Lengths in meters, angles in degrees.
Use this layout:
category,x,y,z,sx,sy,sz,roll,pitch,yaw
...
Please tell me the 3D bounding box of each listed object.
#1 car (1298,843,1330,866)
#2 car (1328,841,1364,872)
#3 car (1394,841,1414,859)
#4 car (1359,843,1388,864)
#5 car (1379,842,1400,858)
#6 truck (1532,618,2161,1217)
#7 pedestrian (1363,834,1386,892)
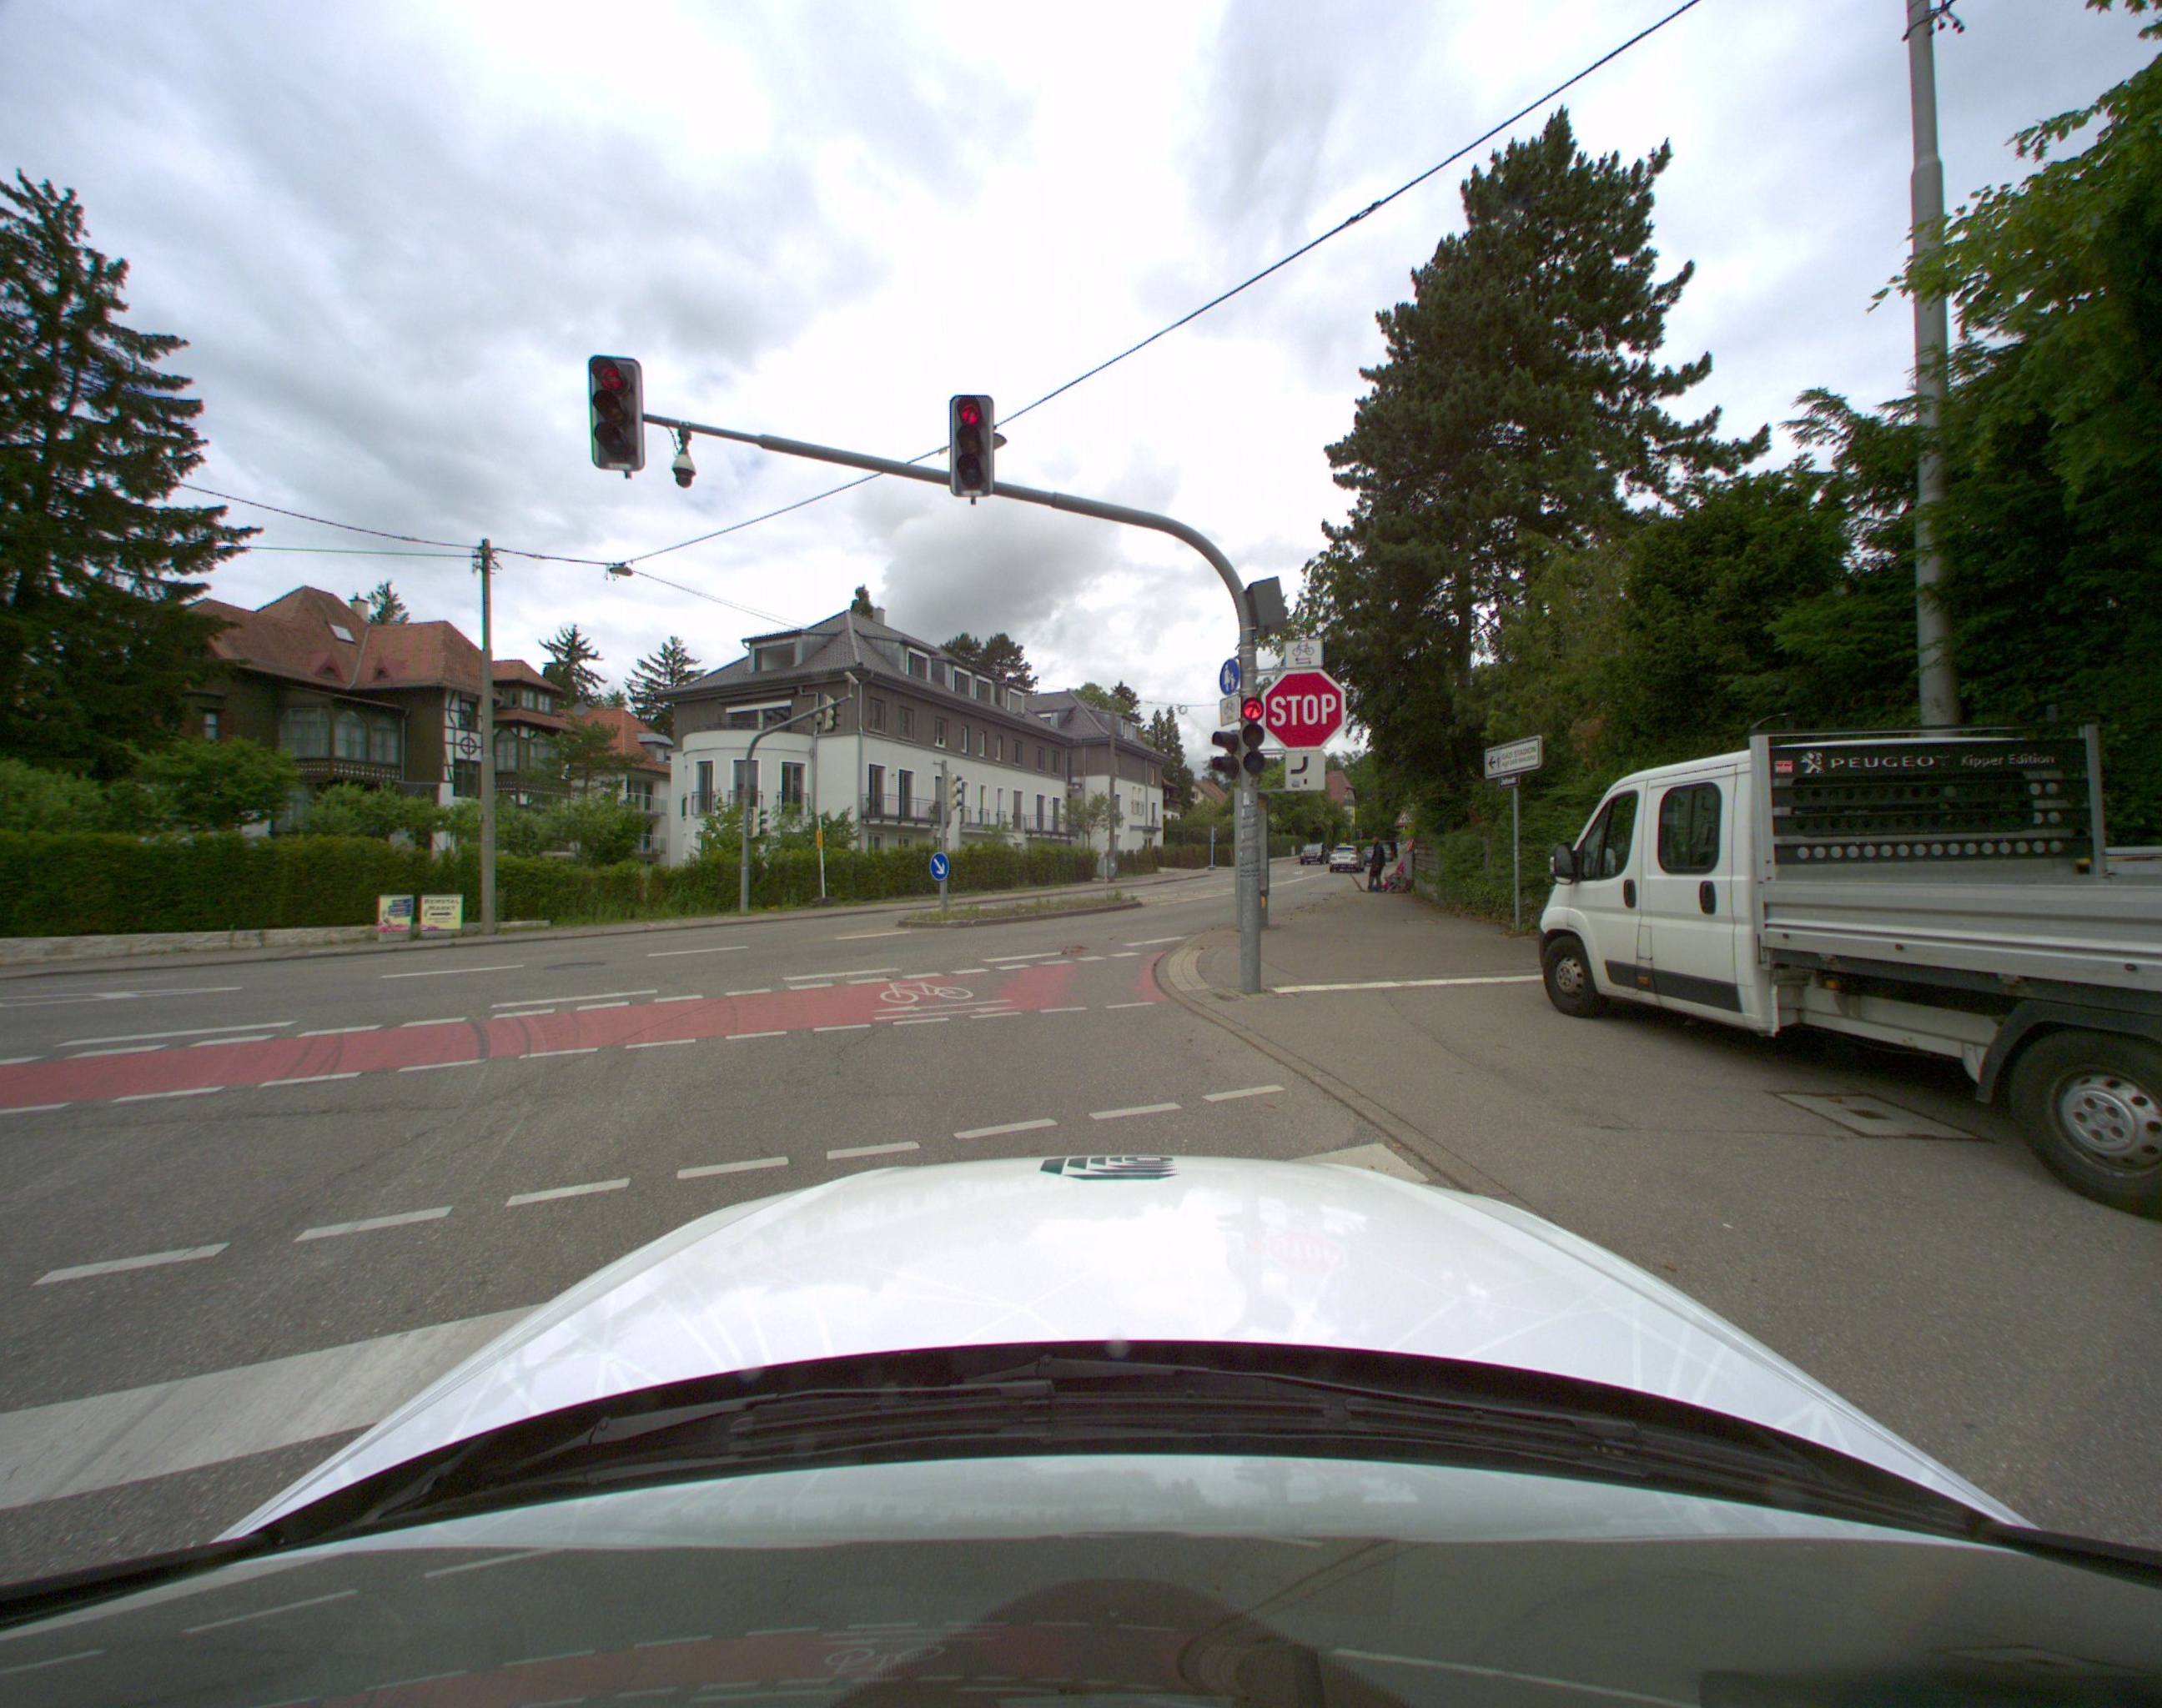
category,x,y,z,sx,sy,sz,roll,pitch,yaw
car,20.193,0.072,70.448,1.895,1.881,5.170,-2,-1,24
car,16.508,0.124,50.599,1.791,1.753,4.511,-2,0,22
car,36.532,-0.452,92.015,1.902,1.894,4.935,1,1,23
car,23.264,-0.080,64.743,1.783,1.527,4.770,-2,0,24
car,29.855,-0.409,78.724,1.679,1.430,3.769,-2,0,23
truck,5.273,0.237,4.944,2.198,2.243,5.729,0,0,4
pedestrian,9.816,0.309,27.257,0.594,1.907,0.559,0,-1,2
